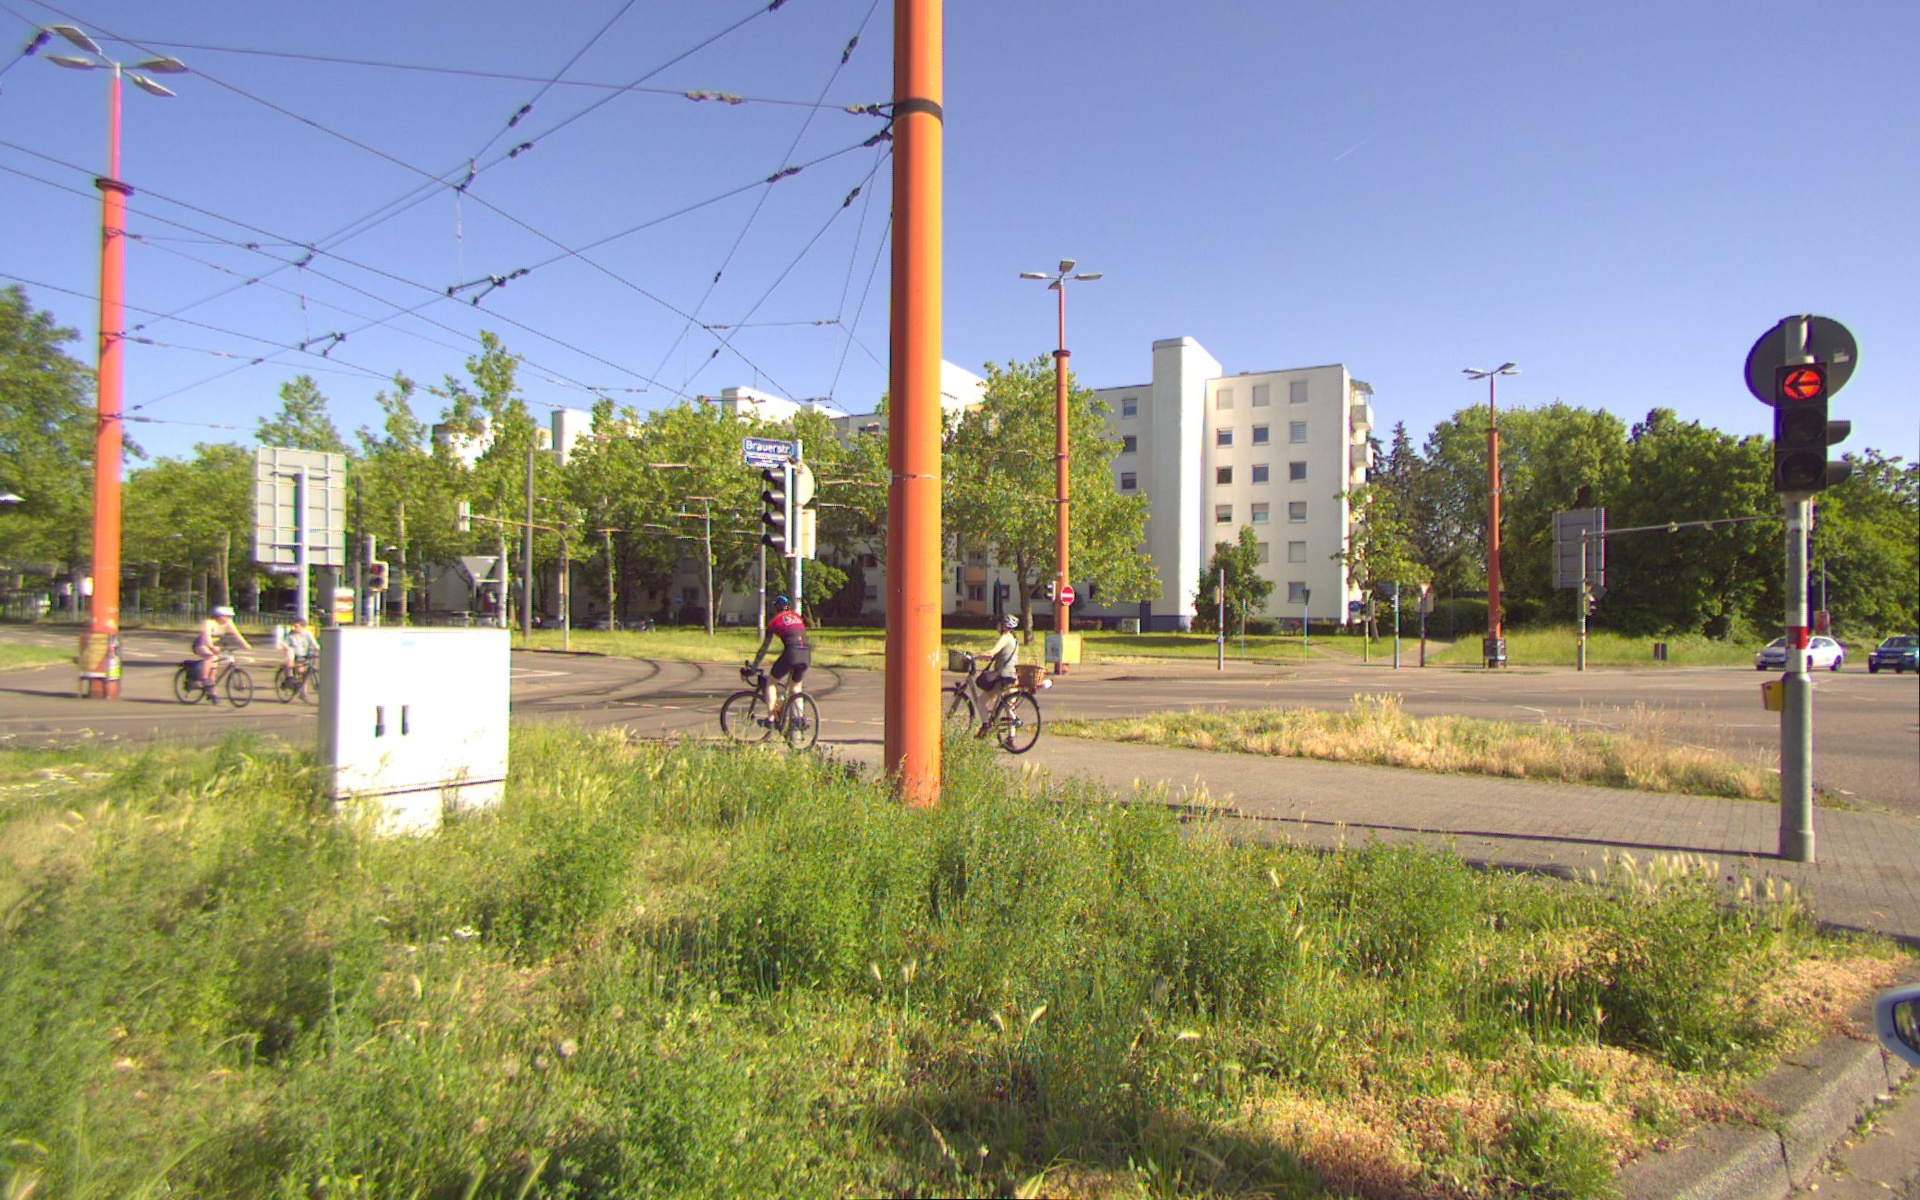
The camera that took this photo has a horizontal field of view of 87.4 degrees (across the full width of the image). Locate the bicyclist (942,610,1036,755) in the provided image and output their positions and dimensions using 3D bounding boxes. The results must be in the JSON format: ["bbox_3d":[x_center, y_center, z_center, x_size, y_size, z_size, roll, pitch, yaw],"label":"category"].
[{"bbox_3d":[0.360,0.955,12.097,0.728,1.659,0.931,0,-1,35],"label":"bicyclist"}]

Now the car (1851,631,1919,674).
[{"bbox_3d":[37.269,2.034,39.865,4.079,1.594,1.981,2,-1,-35],"label":"car"}]

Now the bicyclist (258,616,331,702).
[{"bbox_3d":[-13.210,1.160,19.967,0.726,1.659,0.934,0,-1,18],"label":"bicyclist"}]

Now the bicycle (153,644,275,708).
[{"bbox_3d":[-14.027,1.410,18.895,1.849,1.102,0.928,0,-1,18],"label":"bicycle"}]

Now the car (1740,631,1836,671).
[{"bbox_3d":[35.145,2.146,42.606,4.075,1.594,1.983,1,-1,-32],"label":"car"}]

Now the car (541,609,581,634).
[{"bbox_3d":[-31.192,1.670,78.677,1.963,1.840,3.995,1,-1,-8],"label":"car"}]

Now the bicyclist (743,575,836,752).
[{"bbox_3d":[-2.065,0.747,12.139,0.921,2.040,0.736,1,-1,-25],"label":"bicyclist"}]

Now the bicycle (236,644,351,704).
[{"bbox_3d":[-13.250,1.441,19.979,1.849,1.102,0.928,0,-1,18],"label":"bicycle"}]

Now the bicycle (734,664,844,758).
[{"bbox_3d":[-2.114,1.306,12.235,0.915,0.976,1.747,1,-1,-24],"label":"bicycle"}]

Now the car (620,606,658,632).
[{"bbox_3d":[-23.403,1.394,73.416,1.963,1.840,3.995,1,-1,-8],"label":"car"}]

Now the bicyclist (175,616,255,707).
[{"bbox_3d":[-14.001,1.132,18.896,0.726,1.659,0.934,0,-1,18],"label":"bicyclist"}]

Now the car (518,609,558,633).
[{"bbox_3d":[-33.808,1.665,80.527,1.963,1.840,3.995,1,-1,-8],"label":"car"}]

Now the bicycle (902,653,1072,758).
[{"bbox_3d":[0.316,1.225,12.120,1.855,1.102,0.925,0,-1,34],"label":"bicycle"}]

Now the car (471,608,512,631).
[{"bbox_3d":[-39.284,1.635,84.325,1.963,1.840,3.995,1,-1,-8],"label":"car"}]

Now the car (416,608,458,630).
[{"bbox_3d":[-46.022,1.670,88.475,1.963,1.840,3.995,1,-1,-8],"label":"car"}]

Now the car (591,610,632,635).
[{"bbox_3d":[-26.109,1.681,75.328,1.962,1.840,3.997,1,-1,-5],"label":"car"}]

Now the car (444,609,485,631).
[{"bbox_3d":[-42.578,1.695,86.461,1.963,1.840,3.995,1,-1,-8],"label":"car"}]
